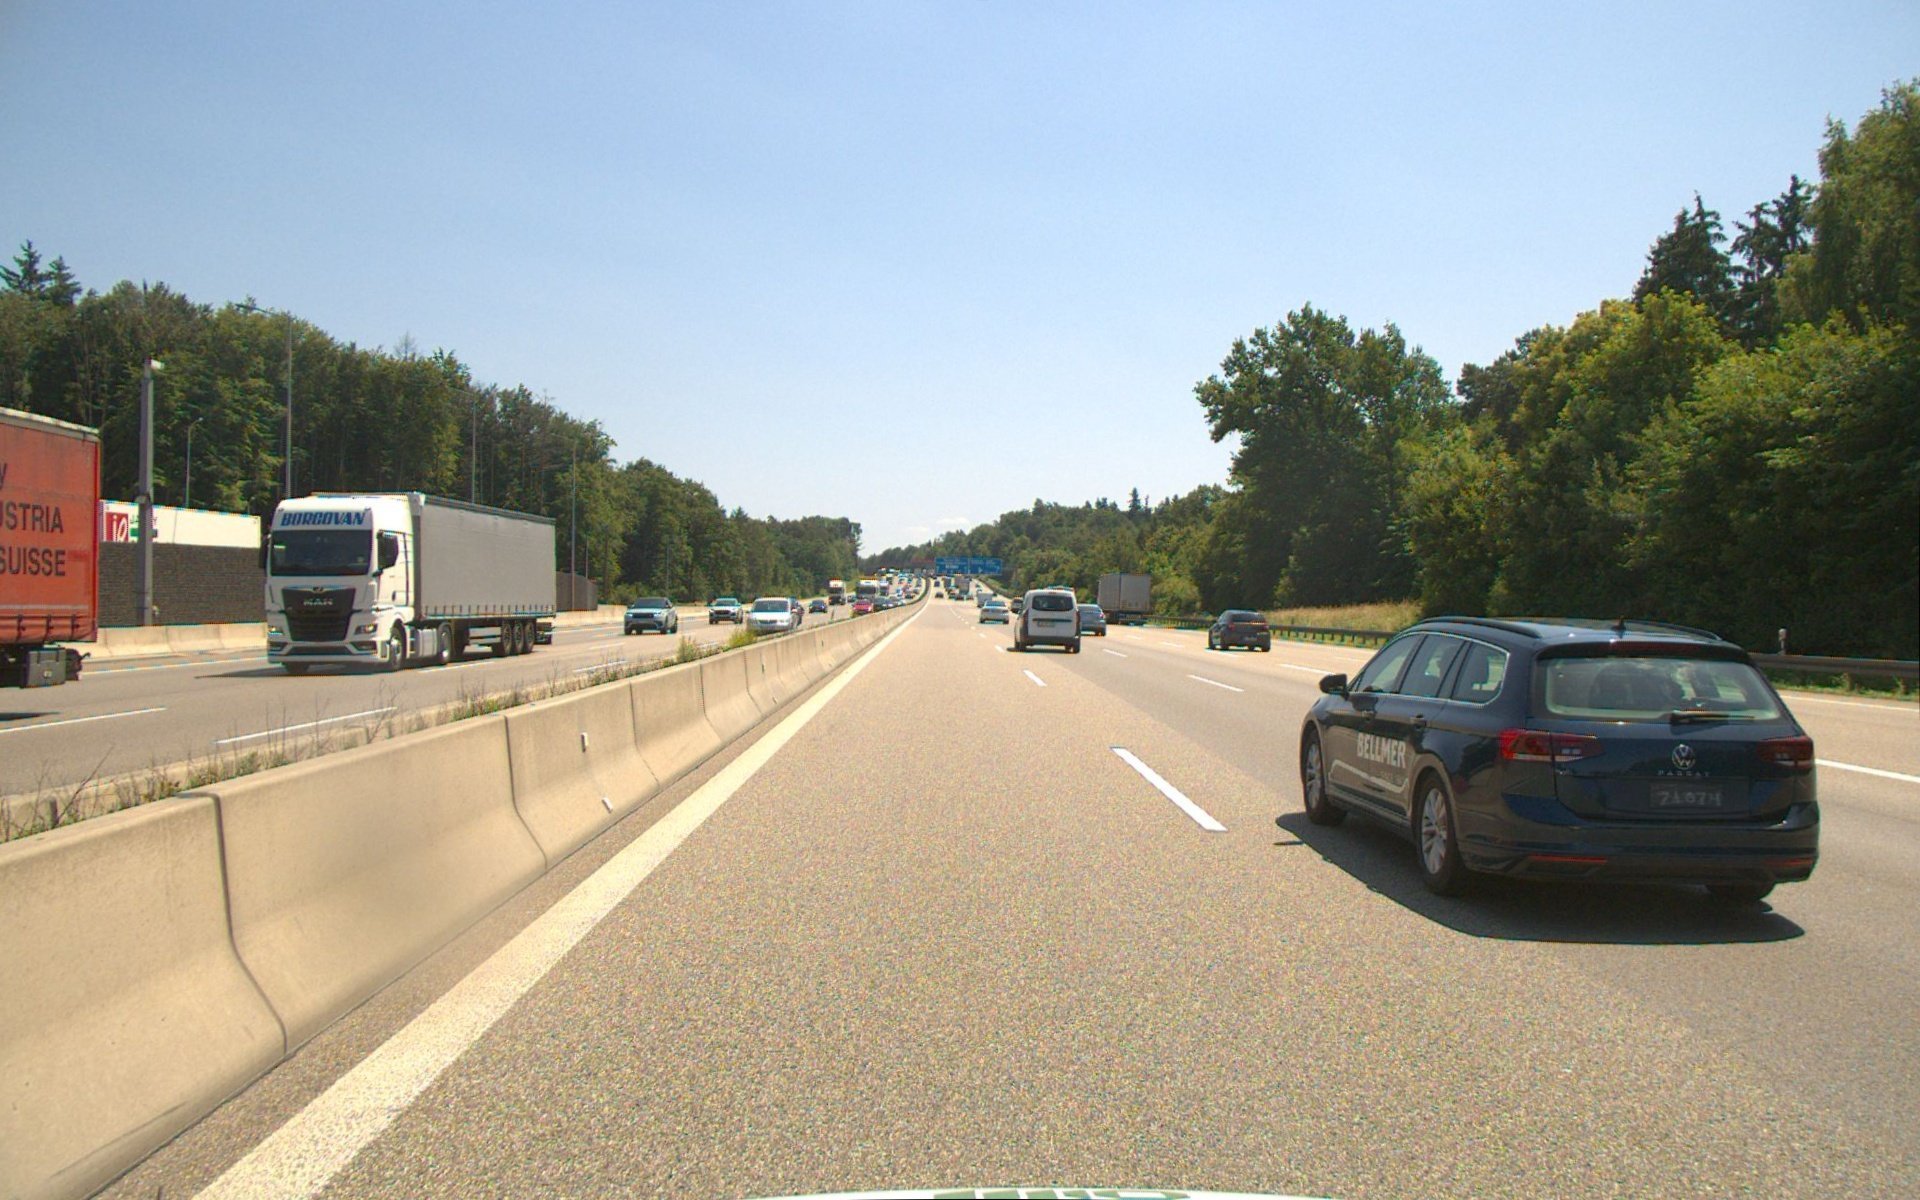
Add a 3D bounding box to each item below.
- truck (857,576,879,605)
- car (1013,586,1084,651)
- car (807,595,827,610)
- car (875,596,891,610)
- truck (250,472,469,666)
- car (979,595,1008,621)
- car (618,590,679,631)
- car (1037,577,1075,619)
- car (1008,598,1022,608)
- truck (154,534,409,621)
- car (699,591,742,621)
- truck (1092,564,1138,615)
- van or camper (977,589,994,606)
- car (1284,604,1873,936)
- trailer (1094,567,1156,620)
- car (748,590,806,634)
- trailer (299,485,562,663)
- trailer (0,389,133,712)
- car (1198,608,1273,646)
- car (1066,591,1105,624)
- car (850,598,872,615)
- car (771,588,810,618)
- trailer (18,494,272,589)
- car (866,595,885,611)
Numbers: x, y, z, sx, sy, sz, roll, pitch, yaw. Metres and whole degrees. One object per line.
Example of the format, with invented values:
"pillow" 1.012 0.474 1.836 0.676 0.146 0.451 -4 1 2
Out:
"truck" -13.422 -1.404 241.125 2.985 4.209 6.947 0 0 -1
"car" 2.619 0.521 49.845 1.822 1.858 4.611 0 0 -1
"car" -15.963 0.316 185.150 1.954 1.649 5.751 0 0 -3
"car" -9.679 0.357 207.279 1.953 1.692 4.969 0 0 -2
"truck" -13.739 -0.651 38.461 2.679 4.102 6.780 0 0 -1
"car" 2.168 0.501 107.821 1.805 1.657 4.552 0 0 -1
"car" -14.413 0.476 76.819 1.953 1.805 5.037 0 0 -1
"car" 6.461 -0.187 111.569 2.100 2.698 5.709 2 1 -1
"car" 7.577 0.402 228.945 1.798 1.361 3.642 0 0 -1
"truck" -47.032 -1.442 115.541 3.392 5.711 16.597 1 0 43
"car" -15.121 0.359 104.807 1.953 1.805 5.922 0 0 -1
"truck" 13.356 -0.948 142.825 3.188 4.178 5.987 2 1 -1
"van or camper" 4.019 -0.370 262.969 2.591 2.583 6.501 1 0 -1
"car" 3.308 0.781 10.018 1.694 1.472 4.961 1 0 0
"trailer" 13.488 -0.643 136.336 3.221 3.998 13.887 2 1 -1
"car" -7.156 0.446 65.022 1.747 1.672 5.462 0 0 -1
"trailer" -13.864 -0.605 45.106 2.698 4.071 14.464 0 0 -1
"trailer" -13.456 -0.634 17.466 2.519 4.120 14.179 0 0 -1
"car" 9.817 0.942 59.248 1.638 1.296 4.285 0 0 -5
"car" 5.863 0.338 77.496 1.473 1.527 3.649 0 0 -1
"car" -8.928 0.568 149.270 1.695 1.540 5.043 1 0 -1
"car" -10.784 0.174 105.680 1.953 1.805 5.922 0 0 -1
"trailer" -31.363 -2.072 64.802 2.911 3.178 14.606 1 0 -1
"car" -9.368 0.335 183.878 1.953 1.692 5.752 0 0 -2
